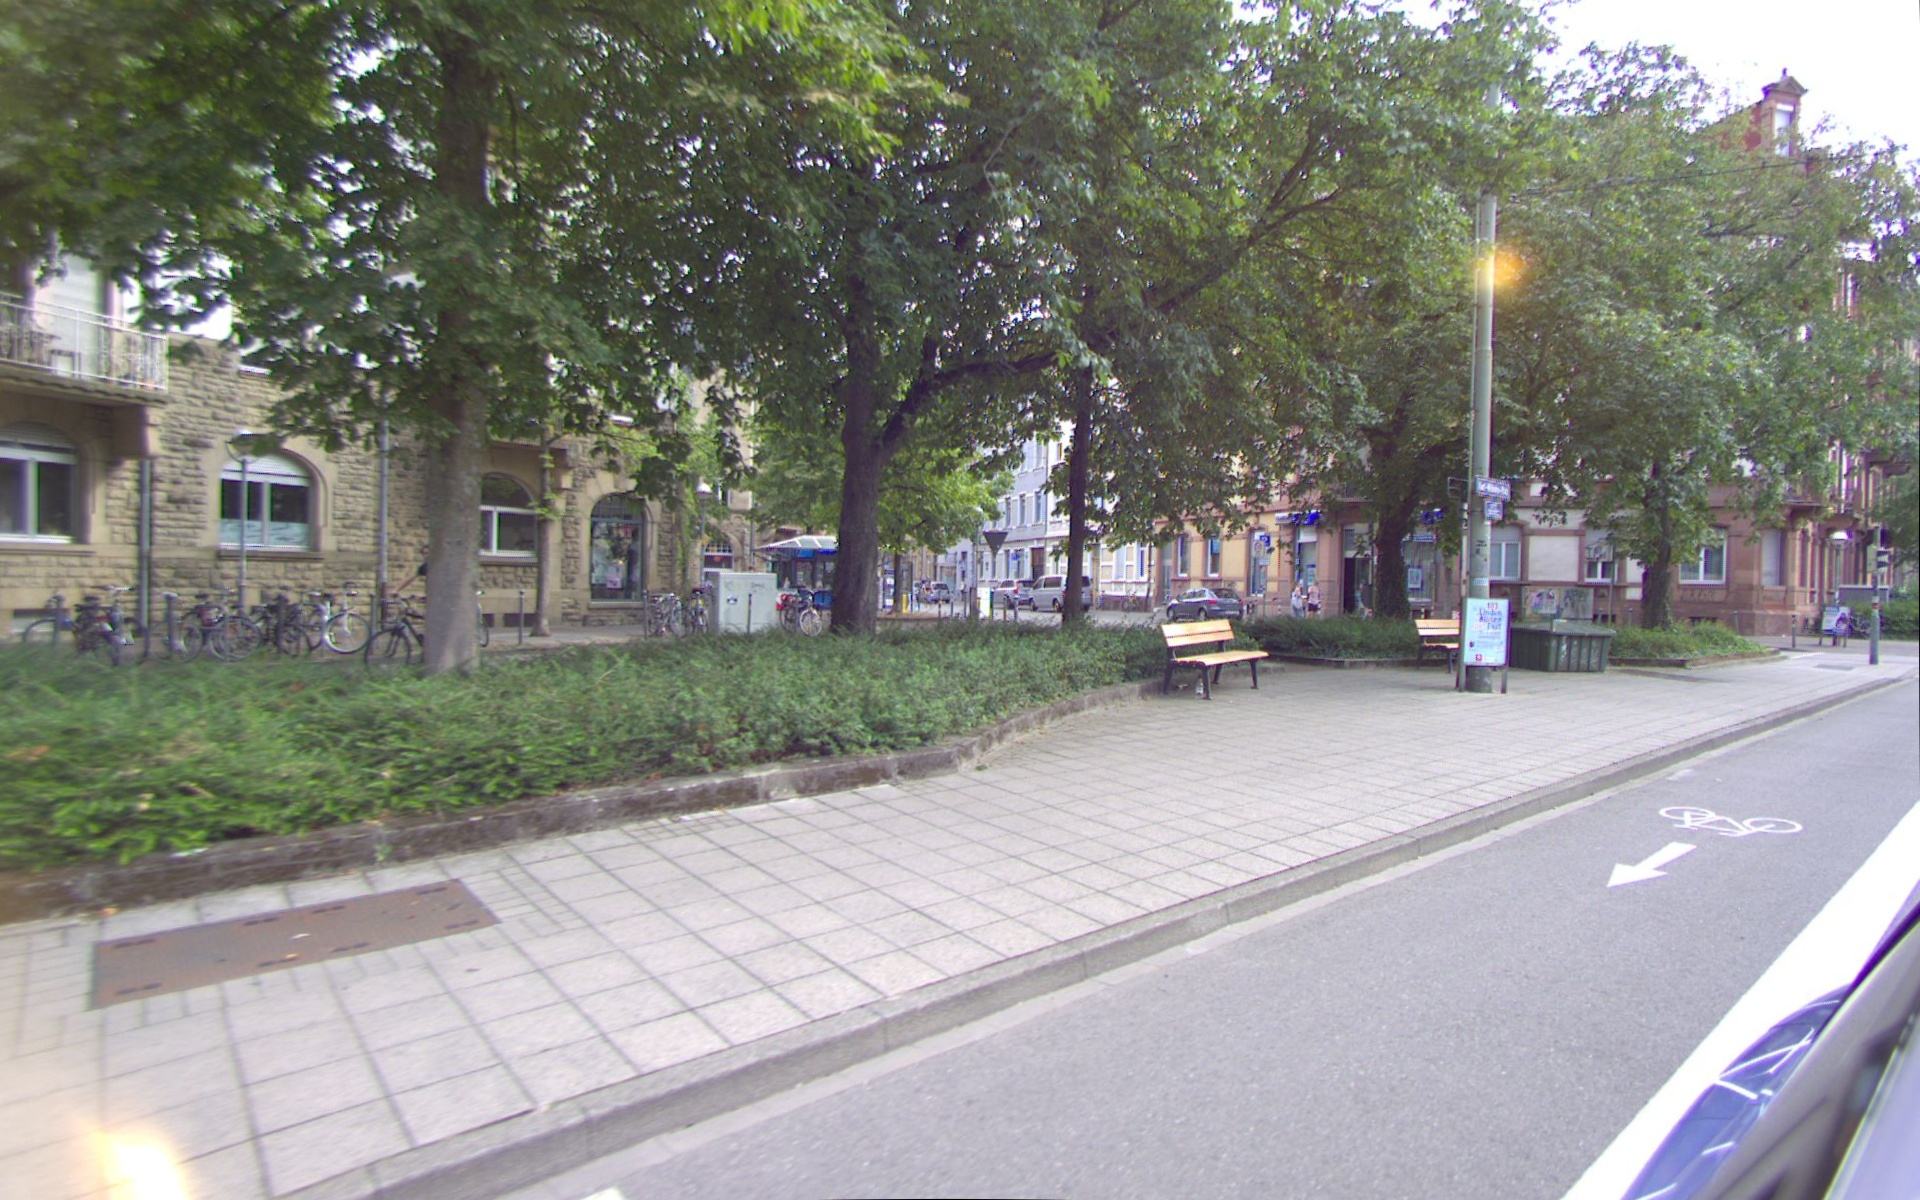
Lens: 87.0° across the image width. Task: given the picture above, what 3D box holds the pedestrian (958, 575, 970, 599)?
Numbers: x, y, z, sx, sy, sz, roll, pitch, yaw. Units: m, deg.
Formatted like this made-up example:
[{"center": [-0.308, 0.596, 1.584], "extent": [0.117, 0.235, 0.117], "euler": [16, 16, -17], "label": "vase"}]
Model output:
[{"center": [0.306, -0.988, 75.172], "extent": [0.633, 1.776, 0.734], "euler": [1, 1, -19], "label": "pedestrian"}]

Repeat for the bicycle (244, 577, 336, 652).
[{"center": [-11.088, 0.215, 16.737], "extent": [1.880, 1.142, 0.575], "euler": [2, 1, 33], "label": "bicycle"}]

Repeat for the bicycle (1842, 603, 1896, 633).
[{"center": [31.821, 0.623, 35.448], "extent": [1.518, 0.981, 0.511], "euler": [1, 1, -8], "label": "bicycle"}]

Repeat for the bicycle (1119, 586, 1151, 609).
[{"center": [8.978, -0.139, 51.903], "extent": [0.659, 1.135, 1.944], "euler": [1, 1, -22], "label": "bicycle"}]

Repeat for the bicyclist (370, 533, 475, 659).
[{"center": [-7.295, -0.063, 13.777], "extent": [0.637, 1.626, 1.134], "euler": [2, 1, 15], "label": "bicyclist"}]

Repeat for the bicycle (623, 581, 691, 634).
[{"center": [-7.001, 0.154, 23.311], "extent": [1.884, 1.142, 0.525], "euler": [2, 1, 39], "label": "bicycle"}]

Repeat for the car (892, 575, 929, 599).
[{"center": [-3.936, -1.040, 79.989], "extent": [1.780, 1.771, 4.009], "euler": [1, 1, -19], "label": "car"}]

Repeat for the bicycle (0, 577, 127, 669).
[{"center": [-12.298, 0.287, 13.814], "extent": [1.870, 1.142, 0.529], "euler": [3, 1, 20], "label": "bicycle"}]

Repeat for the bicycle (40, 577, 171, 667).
[{"center": [-12.104, 0.286, 14.327], "extent": [1.870, 1.141, 0.529], "euler": [3, 1, 20], "label": "bicycle"}]

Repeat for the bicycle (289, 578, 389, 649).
[{"center": [-10.719, 0.207, 17.459], "extent": [1.876, 1.142, 0.589], "euler": [2, 1, 28], "label": "bicycle"}]

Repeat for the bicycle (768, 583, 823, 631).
[{"center": [-4.264, 0.164, 26.082], "extent": [0.523, 1.142, 1.892], "euler": [1, 1, -39], "label": "bicycle"}]

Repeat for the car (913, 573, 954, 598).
[{"center": [-1.983, -1.080, 74.456], "extent": [1.780, 1.771, 4.009], "euler": [1, 1, -19], "label": "car"}]

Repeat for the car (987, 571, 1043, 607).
[{"center": [3.146, -0.664, 58.744], "extent": [1.780, 1.967, 4.165], "euler": [1, 1, -19], "label": "car"}]

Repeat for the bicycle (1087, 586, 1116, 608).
[{"center": [7.760, -0.192, 55.674], "extent": [0.659, 1.135, 1.944], "euler": [1, 1, -22], "label": "bicycle"}]

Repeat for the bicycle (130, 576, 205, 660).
[{"center": [-11.839, 0.236, 15.103], "extent": [1.886, 1.142, 0.555], "euler": [2, 1, 42], "label": "bicycle"}]

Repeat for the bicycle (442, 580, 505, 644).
[{"center": [-9.421, 0.208, 19.563], "extent": [0.524, 1.142, 1.889], "euler": [0, 1, -43], "label": "bicycle"}]

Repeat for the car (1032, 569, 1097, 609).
[{"center": [5.461, -0.607, 53.205], "extent": [1.829, 2.005, 4.009], "euler": [1, 1, -19], "label": "car"}]

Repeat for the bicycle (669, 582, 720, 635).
[{"center": [-6.259, 0.180, 23.806], "extent": [0.522, 1.142, 1.894], "euler": [1, 1, -34], "label": "bicycle"}]

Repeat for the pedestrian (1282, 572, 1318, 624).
[{"center": [12.030, -0.079, 35.818], "extent": [0.875, 1.750, 0.734], "euler": [2, 2, -8], "label": "pedestrian"}]

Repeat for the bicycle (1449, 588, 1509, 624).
[{"center": [17.615, 0.189, 34.377], "extent": [1.665, 1.158, 0.663], "euler": [3, 1, 41], "label": "bicycle"}]

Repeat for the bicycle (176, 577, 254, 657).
[{"center": [-11.494, 0.231, 15.590], "extent": [1.886, 1.142, 0.590], "euler": [2, 1, 42], "label": "bicycle"}]

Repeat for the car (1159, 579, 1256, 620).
[{"center": [9.655, -0.044, 39.801], "extent": [1.780, 1.459, 4.009], "euler": [1, 1, -19], "label": "car"}]

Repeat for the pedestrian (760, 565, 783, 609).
[{"center": [-7.179, -0.508, 38.516], "extent": [0.717, 1.643, 0.837], "euler": [1, 1, -21], "label": "pedestrian"}]

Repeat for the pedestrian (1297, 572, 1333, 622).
[{"center": [12.773, -0.107, 36.423], "extent": [0.741, 1.750, 0.895], "euler": [2, 2, -17], "label": "pedestrian"}]

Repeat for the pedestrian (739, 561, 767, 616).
[{"center": [-6.510, -0.363, 31.762], "extent": [0.717, 1.696, 0.837], "euler": [1, 1, -21], "label": "pedestrian"}]

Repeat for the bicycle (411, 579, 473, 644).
[{"center": [-9.802, 0.199, 19.122], "extent": [0.524, 1.142, 1.889], "euler": [0, 1, -43], "label": "bicycle"}]

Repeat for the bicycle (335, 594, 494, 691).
[{"center": [-7.321, 0.520, 13.719], "extent": [0.645, 1.166, 2.094], "euler": [2, 1, 14], "label": "bicycle"}]
